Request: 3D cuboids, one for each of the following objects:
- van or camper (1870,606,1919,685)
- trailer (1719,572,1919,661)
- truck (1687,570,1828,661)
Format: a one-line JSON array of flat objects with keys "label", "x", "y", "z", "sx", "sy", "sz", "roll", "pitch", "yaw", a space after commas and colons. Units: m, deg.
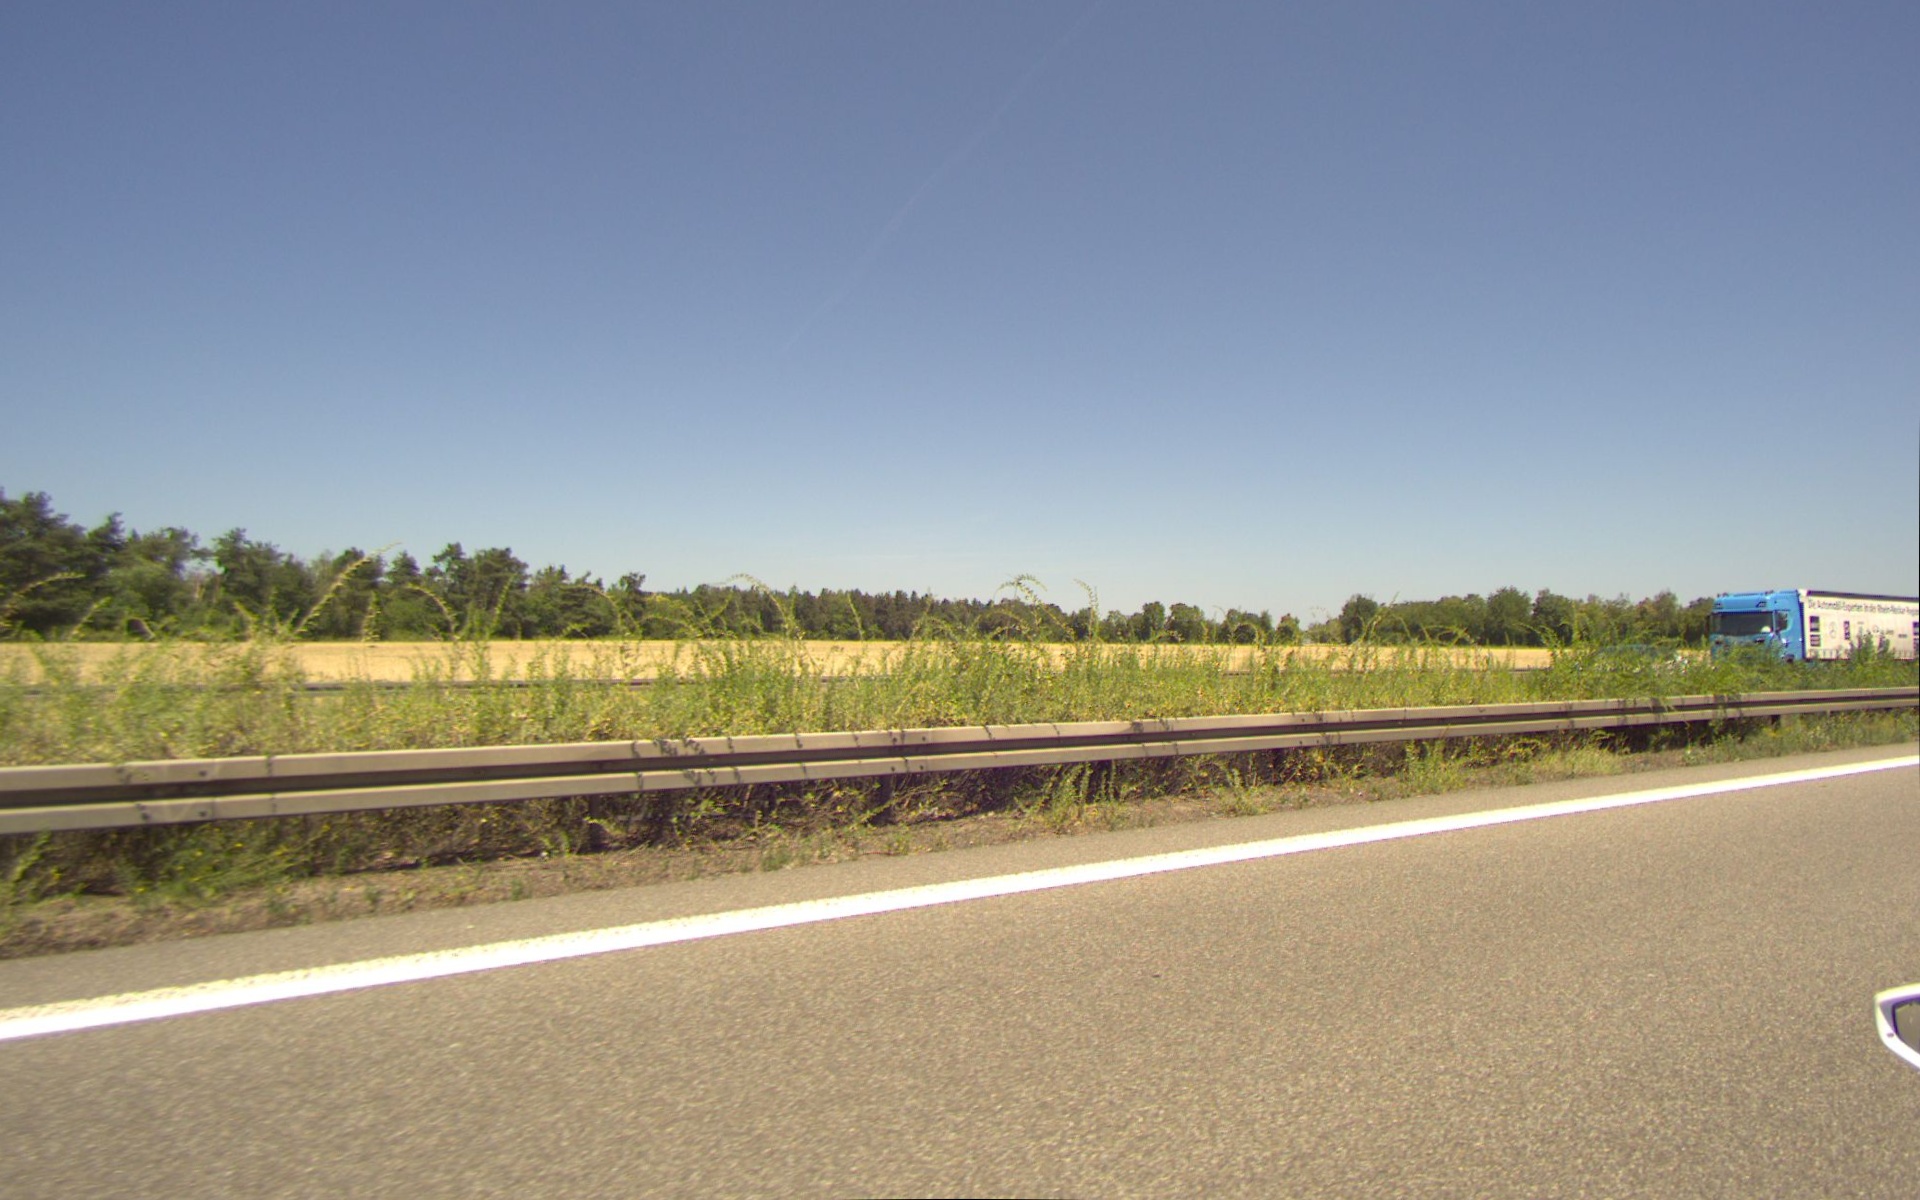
[{"label": "van or camper", "x": 42.934, "y": 1.957, "z": 43.024, "sx": 11.377, "sy": 3.142, "sz": 2.598, "roll": 2, "pitch": -2, "yaw": -31}, {"label": "trailer", "x": 41.099, "y": 0.859, "z": 47.418, "sx": 14.212, "sy": 3.748, "sz": 3.095, "roll": 2, "pitch": 0, "yaw": -30}, {"label": "truck", "x": 34.697, "y": 0.678, "z": 43.700, "sx": 5.136, "sy": 3.748, "sz": 3.096, "roll": 2, "pitch": 0, "yaw": -30}]
